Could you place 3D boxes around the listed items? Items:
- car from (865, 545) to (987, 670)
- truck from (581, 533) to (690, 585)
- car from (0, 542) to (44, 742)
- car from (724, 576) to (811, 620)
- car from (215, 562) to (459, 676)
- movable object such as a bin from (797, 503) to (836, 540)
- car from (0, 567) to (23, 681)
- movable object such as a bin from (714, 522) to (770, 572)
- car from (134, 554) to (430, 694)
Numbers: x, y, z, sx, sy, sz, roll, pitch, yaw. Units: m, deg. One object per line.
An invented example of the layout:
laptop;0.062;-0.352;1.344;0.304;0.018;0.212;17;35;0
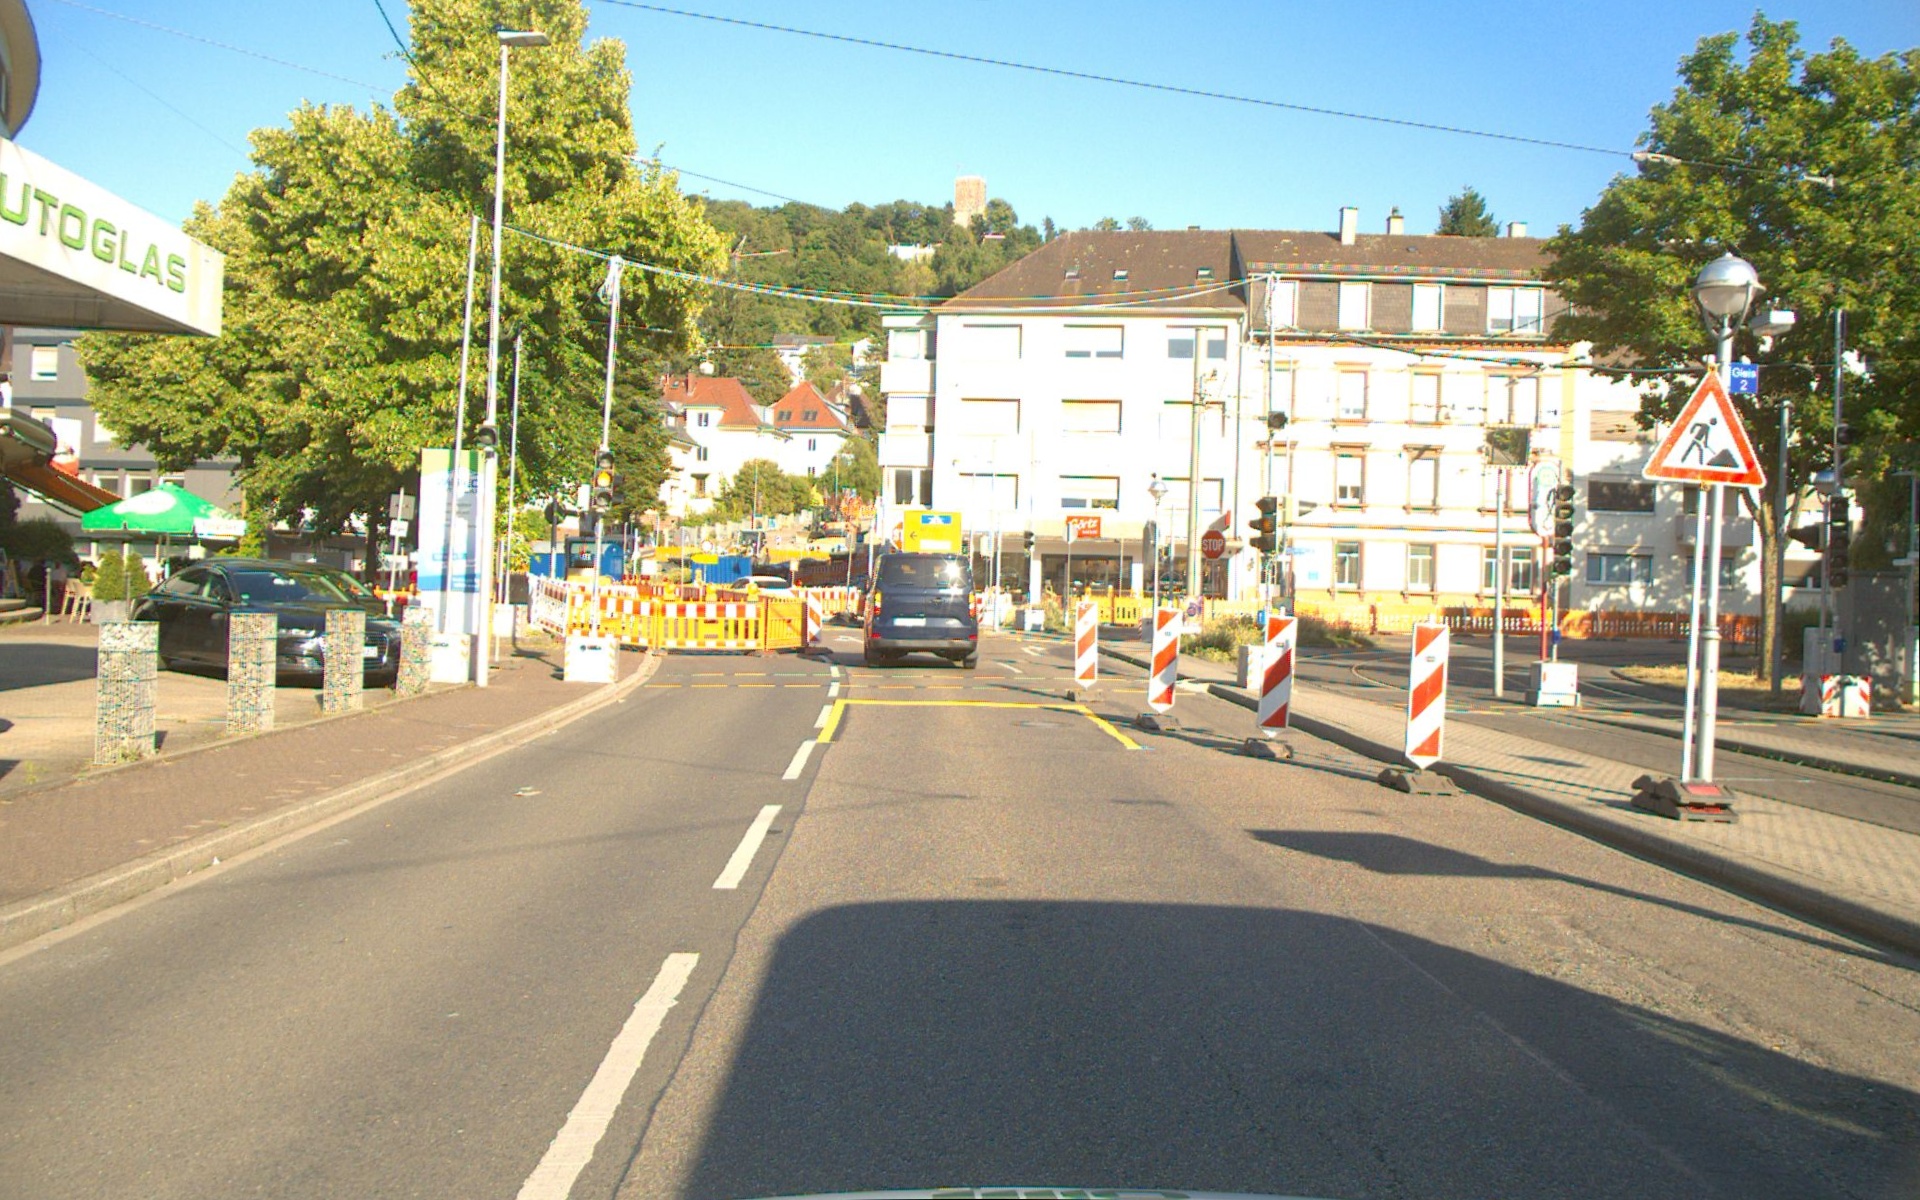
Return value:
car;-0.643;0.112;30.311;2.020;2.049;4.998;1;0;-2
truck;-16.791;-2.087;86.236;2.306;2.458;9.160;2;1;10
car;-9.087;0.288;12.536;1.590;1.596;3.380;2;0;37
car;-6.638;-0.078;56.629;1.772;1.434;3.968;1;0;-25
car;-9.540;0.252;25.176;4.222;1.480;1.641;3;1;41
movable object such as a bin;-11.393;-6.222;131.440;2.144;2.737;4.003;2;0;9
car;-11.618;0.303;17.312;1.556;1.306;4.135;2;1;-5
movable object such as a bin;-12.743;-3.084;96.866;2.144;2.737;4.003;2;0;9
car;-8.575;0.252;20.737;4.241;1.480;1.897;3;1;44
